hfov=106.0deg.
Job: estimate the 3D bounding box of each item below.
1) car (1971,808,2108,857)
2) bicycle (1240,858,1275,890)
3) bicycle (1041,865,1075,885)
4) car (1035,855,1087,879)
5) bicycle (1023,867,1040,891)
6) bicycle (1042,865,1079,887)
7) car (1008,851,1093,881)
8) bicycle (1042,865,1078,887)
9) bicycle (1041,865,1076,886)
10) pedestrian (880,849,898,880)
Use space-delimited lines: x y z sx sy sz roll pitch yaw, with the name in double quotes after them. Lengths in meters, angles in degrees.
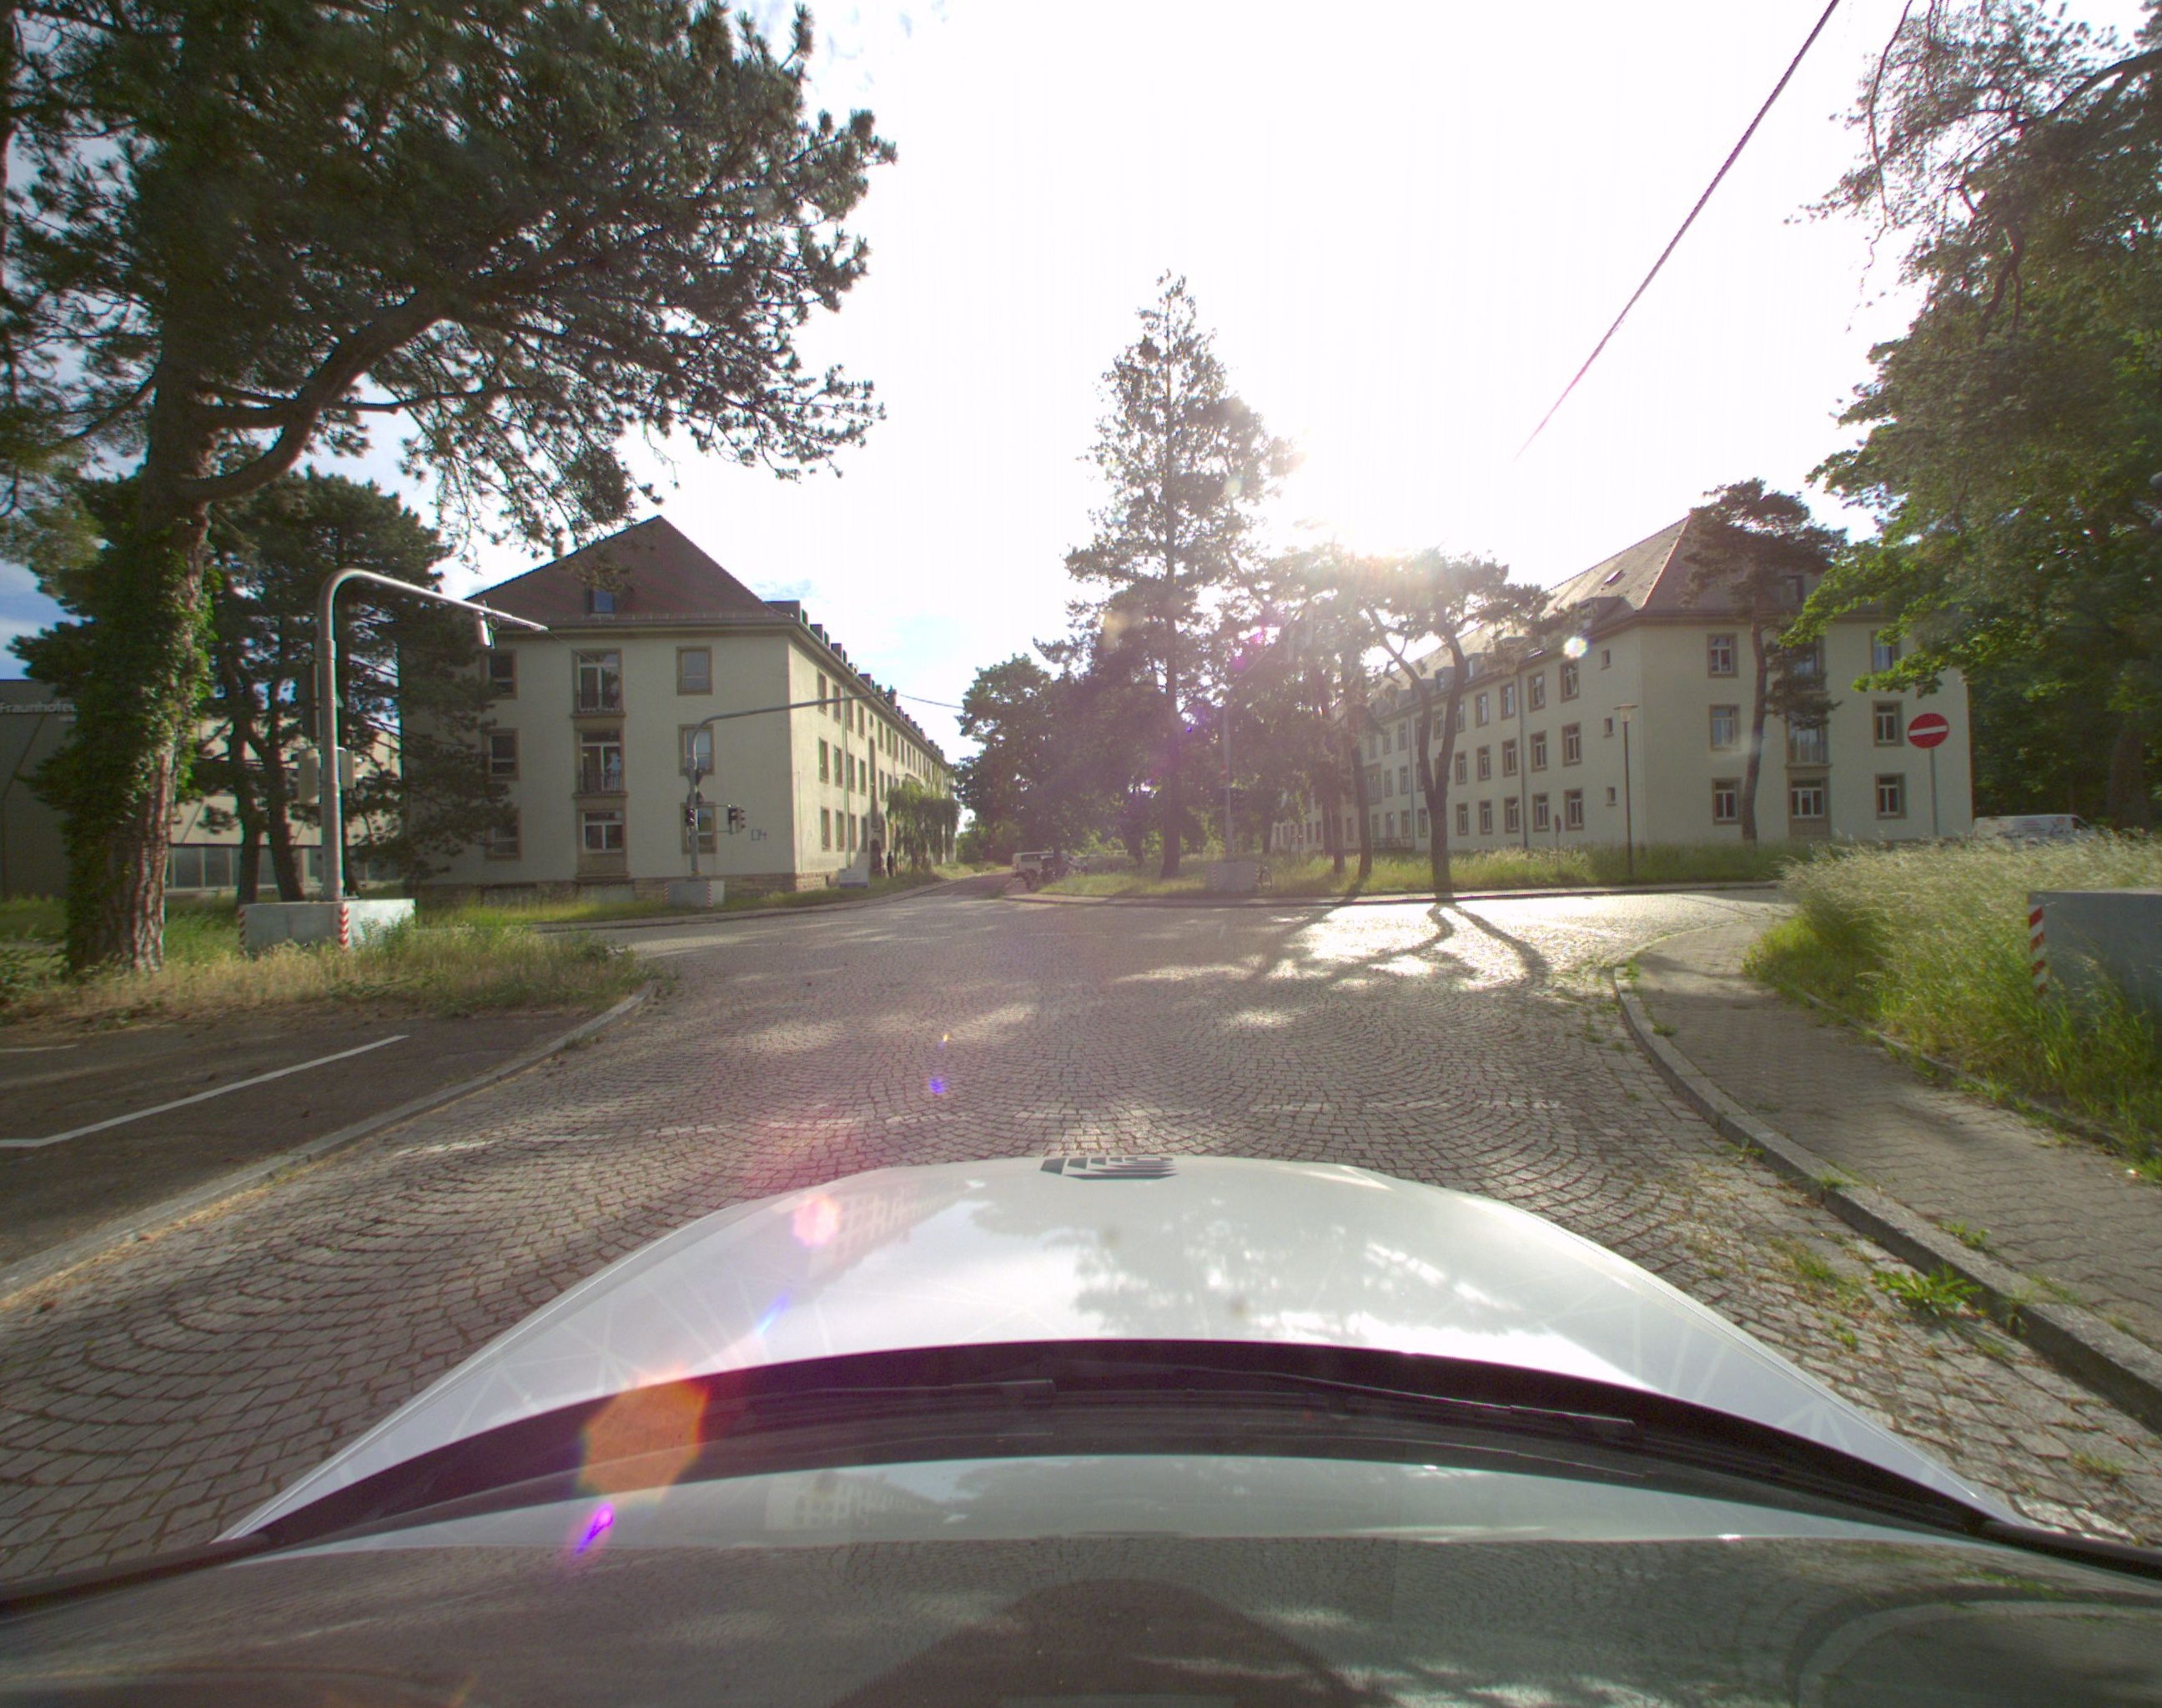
54.025 -1.168 45.969 5.145 2.536 2.262 -2 -1 -2 "car"
5.797 0.644 26.804 0.562 0.999 1.748 -2 1 -7 "bicycle"
-1.226 1.139 43.811 1.789 0.999 0.643 -2 1 -5 "bicycle"
-1.292 0.872 52.926 3.038 1.465 1.711 -1 -1 -16 "car"
-2.225 1.118 36.894 0.726 0.999 1.797 -2 1 -3 "bicycle"
-1.036 1.095 40.561 1.789 0.999 0.643 -2 1 -5 "bicycle"
-2.137 0.811 56.444 5.514 1.916 2.241 -1 -1 -17 "car"
-1.088 1.110 41.578 1.789 0.999 0.643 -2 1 -5 "bicycle"
-1.196 1.130 43.073 1.789 0.999 0.643 -2 1 -5 "bicycle"
-12.309 0.672 52.230 0.983 1.963 0.931 -1 -1 -4 "pedestrian"
